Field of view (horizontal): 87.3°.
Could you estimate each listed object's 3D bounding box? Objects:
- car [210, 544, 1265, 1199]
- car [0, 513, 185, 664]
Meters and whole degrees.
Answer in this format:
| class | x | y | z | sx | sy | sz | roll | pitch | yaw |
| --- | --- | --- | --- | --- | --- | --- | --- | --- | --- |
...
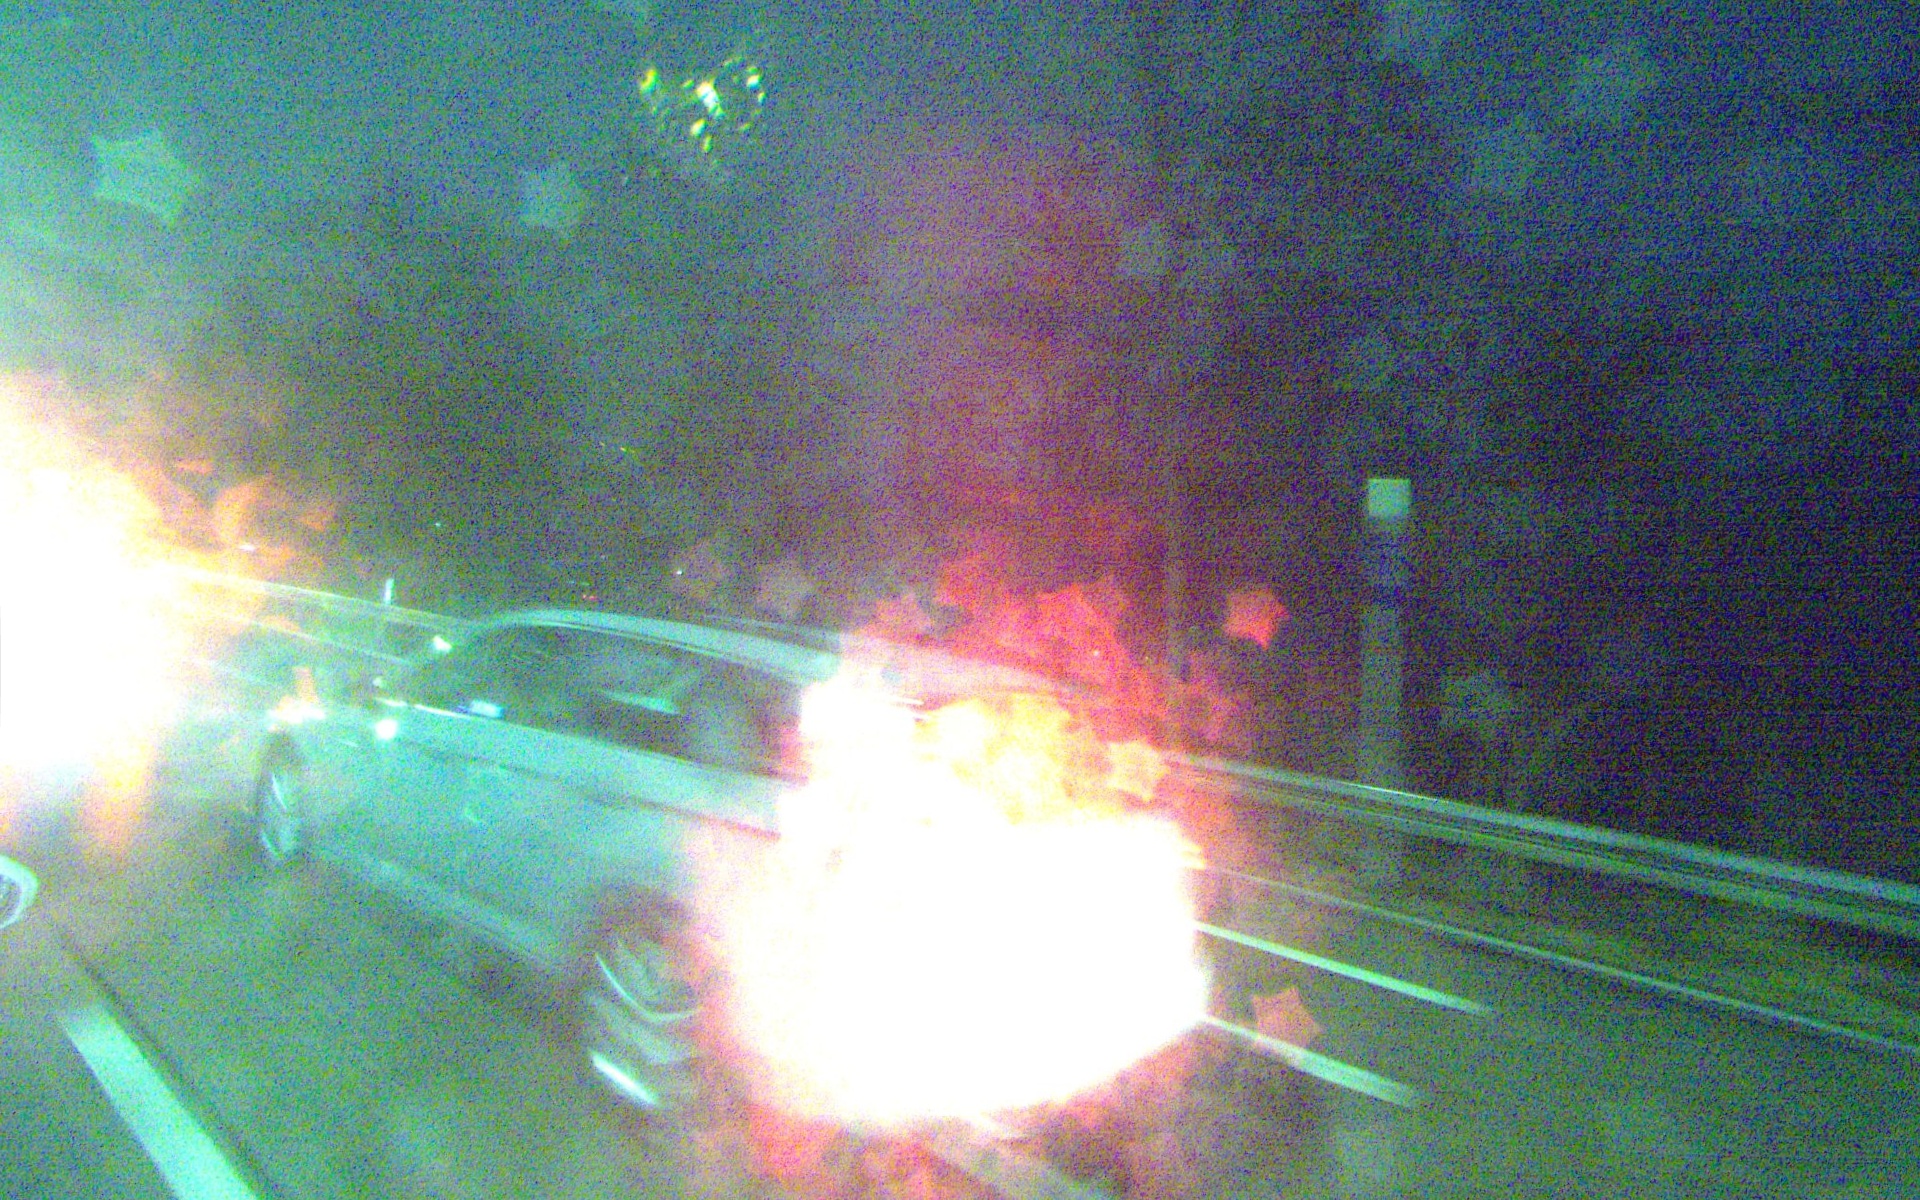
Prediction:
| class | x | y | z | sx | sy | sz | roll | pitch | yaw |
| --- | --- | --- | --- | --- | --- | --- | --- | --- | --- |
| car | -1.295 | 0.735 | 4.273 | 4.500 | 1.502 | 1.822 | 6 | -2 | 38 |
| car | -11.420 | -0.276 | 12.311 | 4.652 | 1.465 | 1.733 | 6 | -2 | 36 |
